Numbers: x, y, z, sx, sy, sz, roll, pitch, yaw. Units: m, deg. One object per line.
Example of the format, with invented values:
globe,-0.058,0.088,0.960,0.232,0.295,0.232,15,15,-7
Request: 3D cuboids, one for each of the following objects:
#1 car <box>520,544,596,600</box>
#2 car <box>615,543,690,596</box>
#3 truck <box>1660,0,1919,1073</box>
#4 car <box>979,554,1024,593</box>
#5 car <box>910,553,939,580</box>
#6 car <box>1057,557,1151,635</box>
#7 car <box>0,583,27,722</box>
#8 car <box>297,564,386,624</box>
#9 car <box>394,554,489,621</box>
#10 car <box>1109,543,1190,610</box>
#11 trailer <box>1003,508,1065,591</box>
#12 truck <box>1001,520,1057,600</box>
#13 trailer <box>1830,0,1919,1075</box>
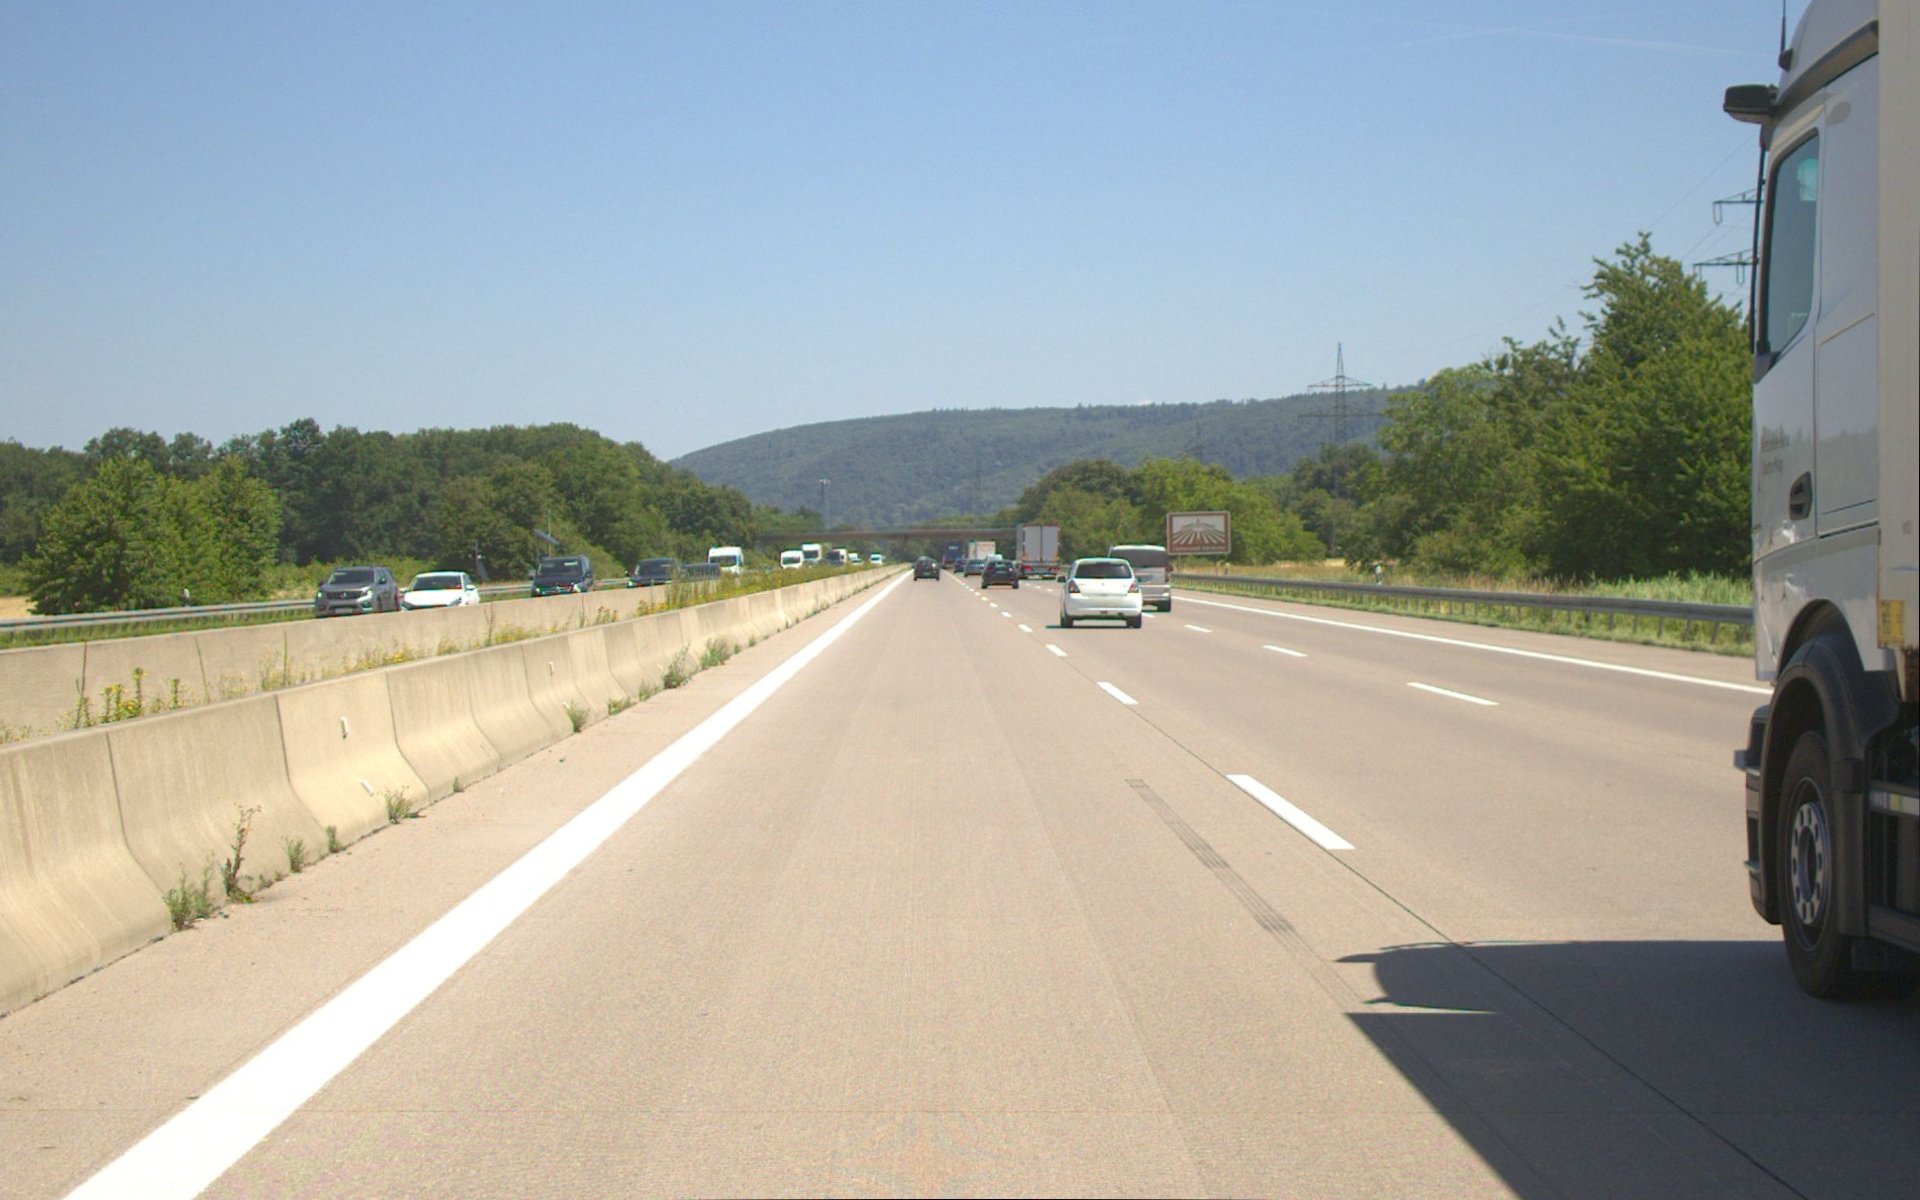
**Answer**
car,-14.077,-1.003,120.613,1.993,1.872,5.184,1,1,1
car,-10.283,-1.039,115.422,1.993,1.711,5.030,1,1,1
truck,4.143,-0.525,11.132,2.580,3.864,4.984,1,1,-1
car,2.029,-1.328,170.737,1.993,1.842,4.000,2,1,-2
car,-2.393,-2.270,232.257,1.928,1.787,4.000,1,1,-1
car,3.135,-0.107,75.652,1.819,1.656,4.000,0,1,-1
car,-12.959,0.668,41.269,1.964,1.711,5.126,1,1,2
car,-18.459,-0.202,102.696,1.993,1.711,4.301,1,1,-2
car,-13.809,-0.306,91.802,1.993,1.711,4.613,1,-1,-2
car,5.410,-0.695,98.551,1.993,1.842,4.000,1,1,-1
trailer,5.315,-3.647,248.926,3.721,5.791,12.163,1,1,-2
truck,5.116,-2.973,255.568,3.721,5.791,7.054,1,1,-2
trailer,4.247,-0.450,5.940,2.580,3.864,10.374,1,1,-1
